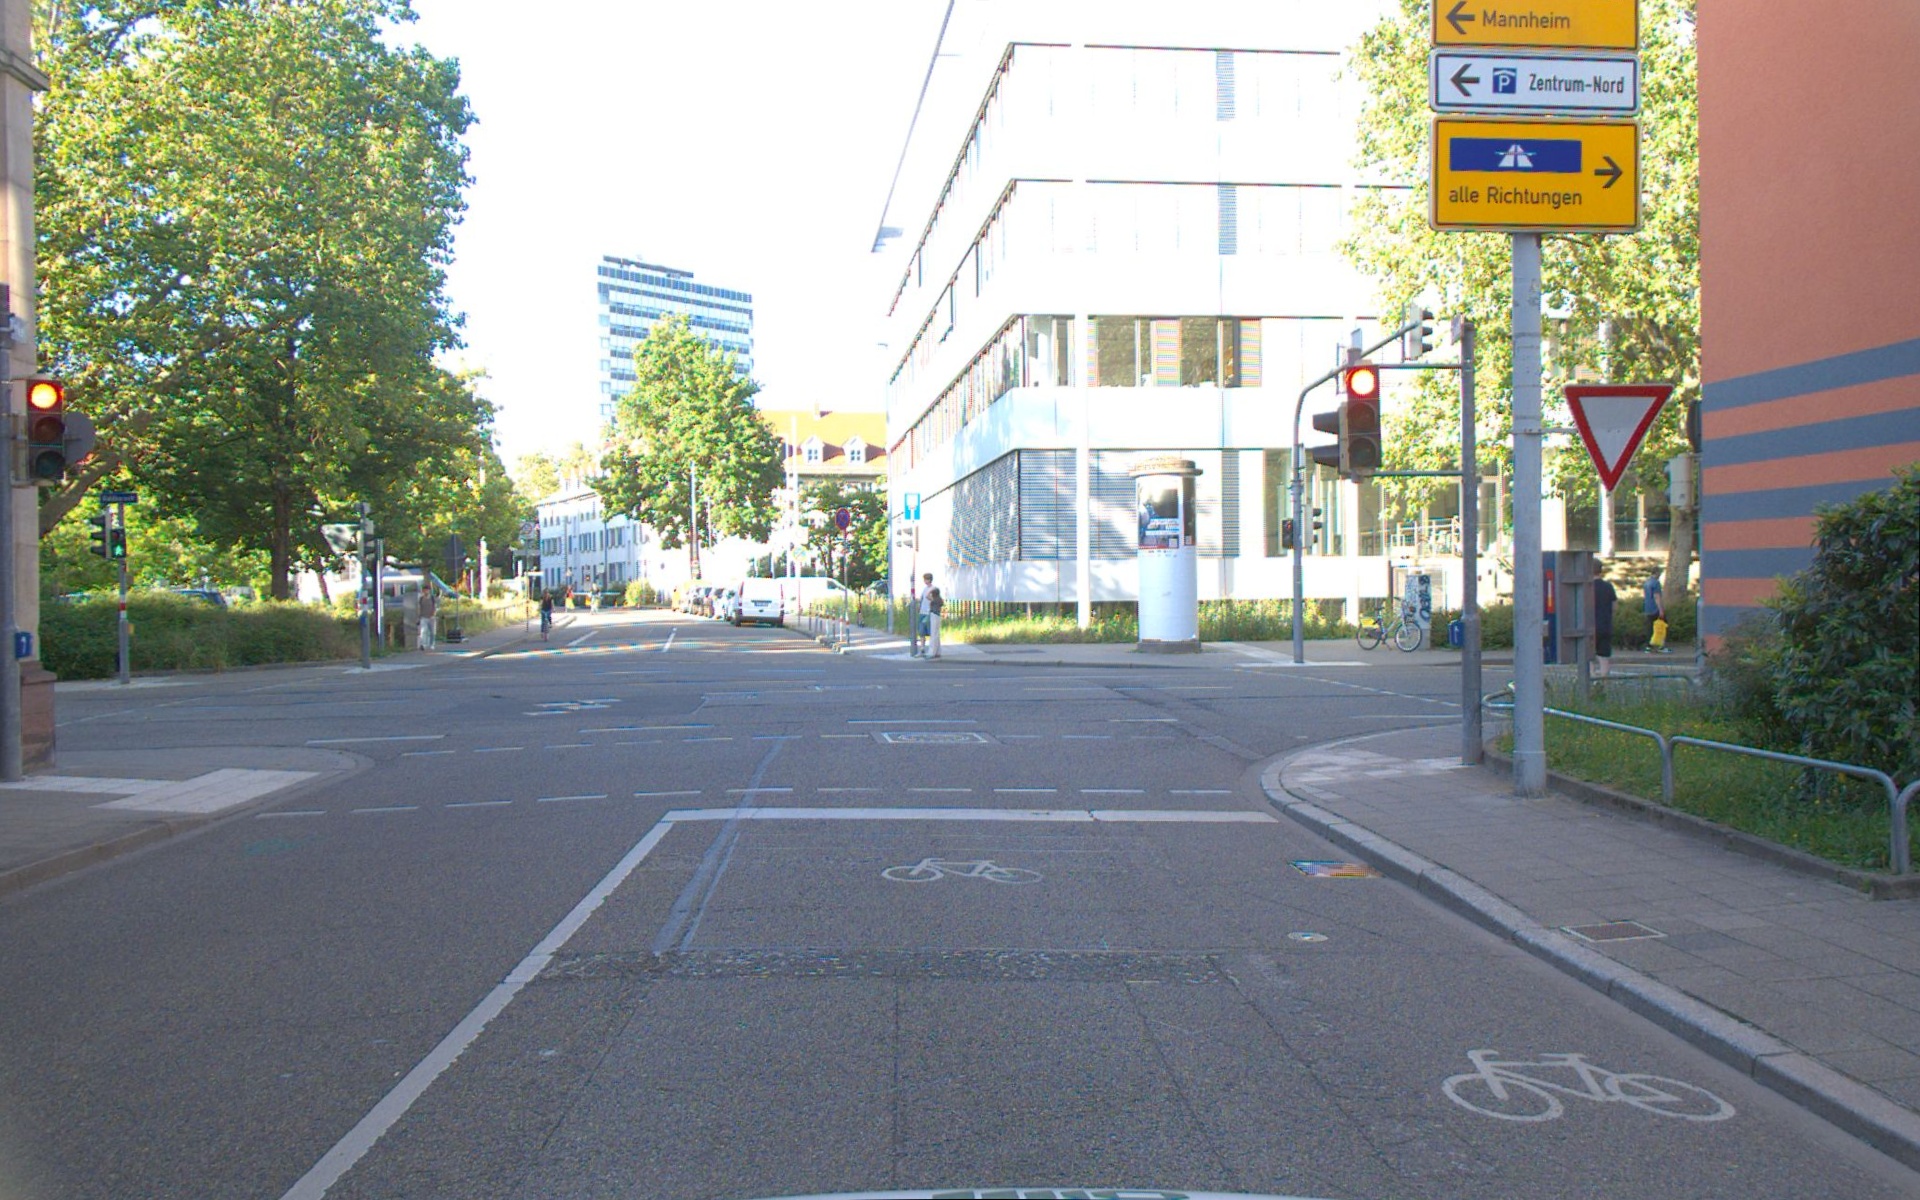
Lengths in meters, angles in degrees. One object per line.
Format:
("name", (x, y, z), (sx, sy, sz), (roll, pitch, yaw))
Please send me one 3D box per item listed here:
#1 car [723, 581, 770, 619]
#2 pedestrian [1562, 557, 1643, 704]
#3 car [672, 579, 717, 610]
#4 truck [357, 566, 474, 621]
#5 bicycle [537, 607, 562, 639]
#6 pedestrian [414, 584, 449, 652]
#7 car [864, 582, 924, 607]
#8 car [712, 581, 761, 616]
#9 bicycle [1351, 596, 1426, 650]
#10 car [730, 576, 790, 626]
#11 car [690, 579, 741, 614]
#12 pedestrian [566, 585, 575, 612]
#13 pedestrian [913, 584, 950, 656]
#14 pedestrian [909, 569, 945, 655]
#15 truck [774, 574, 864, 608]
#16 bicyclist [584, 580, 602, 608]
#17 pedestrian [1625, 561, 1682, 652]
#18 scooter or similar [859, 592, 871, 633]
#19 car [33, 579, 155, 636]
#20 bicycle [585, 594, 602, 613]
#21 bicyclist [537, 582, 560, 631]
("car", (-9.433, -0.020, 72.790), (1.854, 1.582, 4.404), (0, 1, -10))
("pedestrian", (8.336, 0.385, 21.495), (0.692, 1.872, 0.837), (1, 0, -1))
("car", (-15.336, -0.327, 95.257), (1.860, 1.684, 4.391), (0, 1, -19))
("truck", (-24.556, -0.314, 74.750), (4.741, 2.441, 2.082), (0, 1, -11))
("bicycle", (-13.138, 0.730, 52.913), (0.604, 0.986, 1.837), (-1, 1, -9))
("pedestrian", (-14.004, 0.461, 43.826), (0.690, 1.753, 0.952), (-2, 0, -10))
("car", (-4.152, -0.342, 104.170), (3.502, 1.573, 1.549), (-1, 0, -20))
("car", (-10.600, -0.094, 78.143), (1.856, 1.582, 4.400), (0, 1, -14))
("bicycle", (9.354, 0.495, 36.161), (0.503, 1.067, 1.667), (-3, 4, -35))
("car", (-7.849, -0.007, 64.660), (2.047, 1.827, 4.404), (0, 1, -10))
("car", (-12.664, -0.216, 85.361), (1.860, 1.684, 4.391), (0, 1, -19))
("pedestrian", (-24.395, -0.102, 103.712), (0.428, 1.636, 0.488), (-1, 0, -27))
("pedestrian", (-0.640, 0.434, 37.176), (0.551, 1.567, 0.673), (-4, 1, -19))
("pedestrian", (-0.755, 0.268, 37.781), (0.547, 1.882, 0.678), (-3, 1, 15))
("truck", (-8.766, -0.555, 102.916), (5.258, 2.049, 1.989), (-1, 0, -20))
("bicyclist", (-20.502, -0.328, 92.418), (0.851, 1.541, 1.016), (-3, 0, -12))
("pedestrian", (14.491, 0.127, 34.578), (0.819, 1.872, 0.707), (1, 0, -11))
("scooter or similar", (-3.357, 0.443, 58.502), (0.324, 1.449, 1.333), (1, 0, -6))
("car", (-39.967, 0.351, 76.435), (4.472, 2.433, 2.069), (-2, 0, -10))
("bicycle", (-20.480, 0.205, 92.405), (0.850, 1.027, 2.407), (-3, 0, -11))
("bicyclist", (-13.132, 0.205, 52.831), (0.604, 1.559, 0.901), (-1, 0, -9))
